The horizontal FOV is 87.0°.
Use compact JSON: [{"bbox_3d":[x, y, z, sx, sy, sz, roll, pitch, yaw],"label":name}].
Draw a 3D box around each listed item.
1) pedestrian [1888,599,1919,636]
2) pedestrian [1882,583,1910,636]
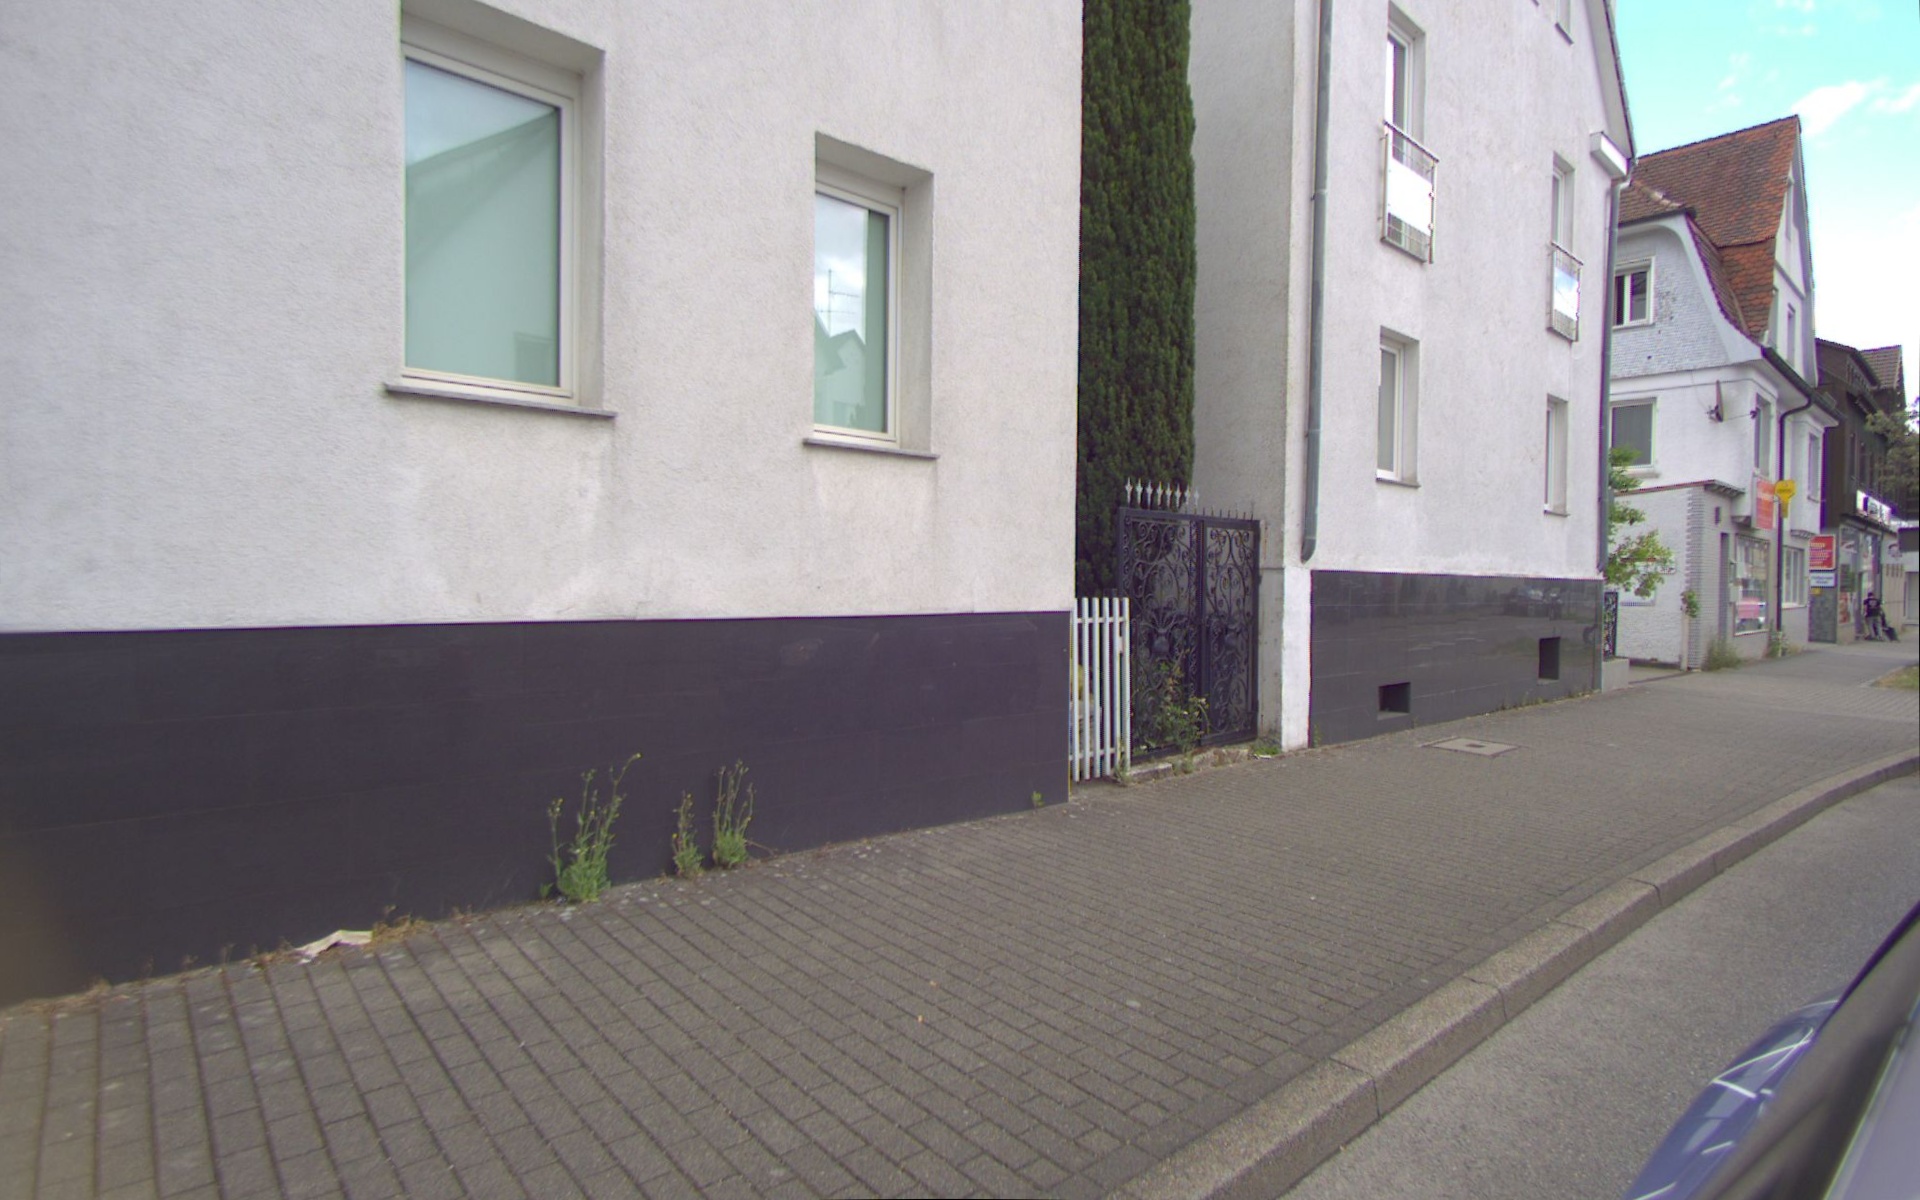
[{"bbox_3d":[32.735,0.604,35.089,0.633,1.226,0.741,0,2,-42],"label":"pedestrian"},{"bbox_3d":[32.054,0.310,34.669,0.642,1.762,0.731,3,2,43],"label":"pedestrian"}]
